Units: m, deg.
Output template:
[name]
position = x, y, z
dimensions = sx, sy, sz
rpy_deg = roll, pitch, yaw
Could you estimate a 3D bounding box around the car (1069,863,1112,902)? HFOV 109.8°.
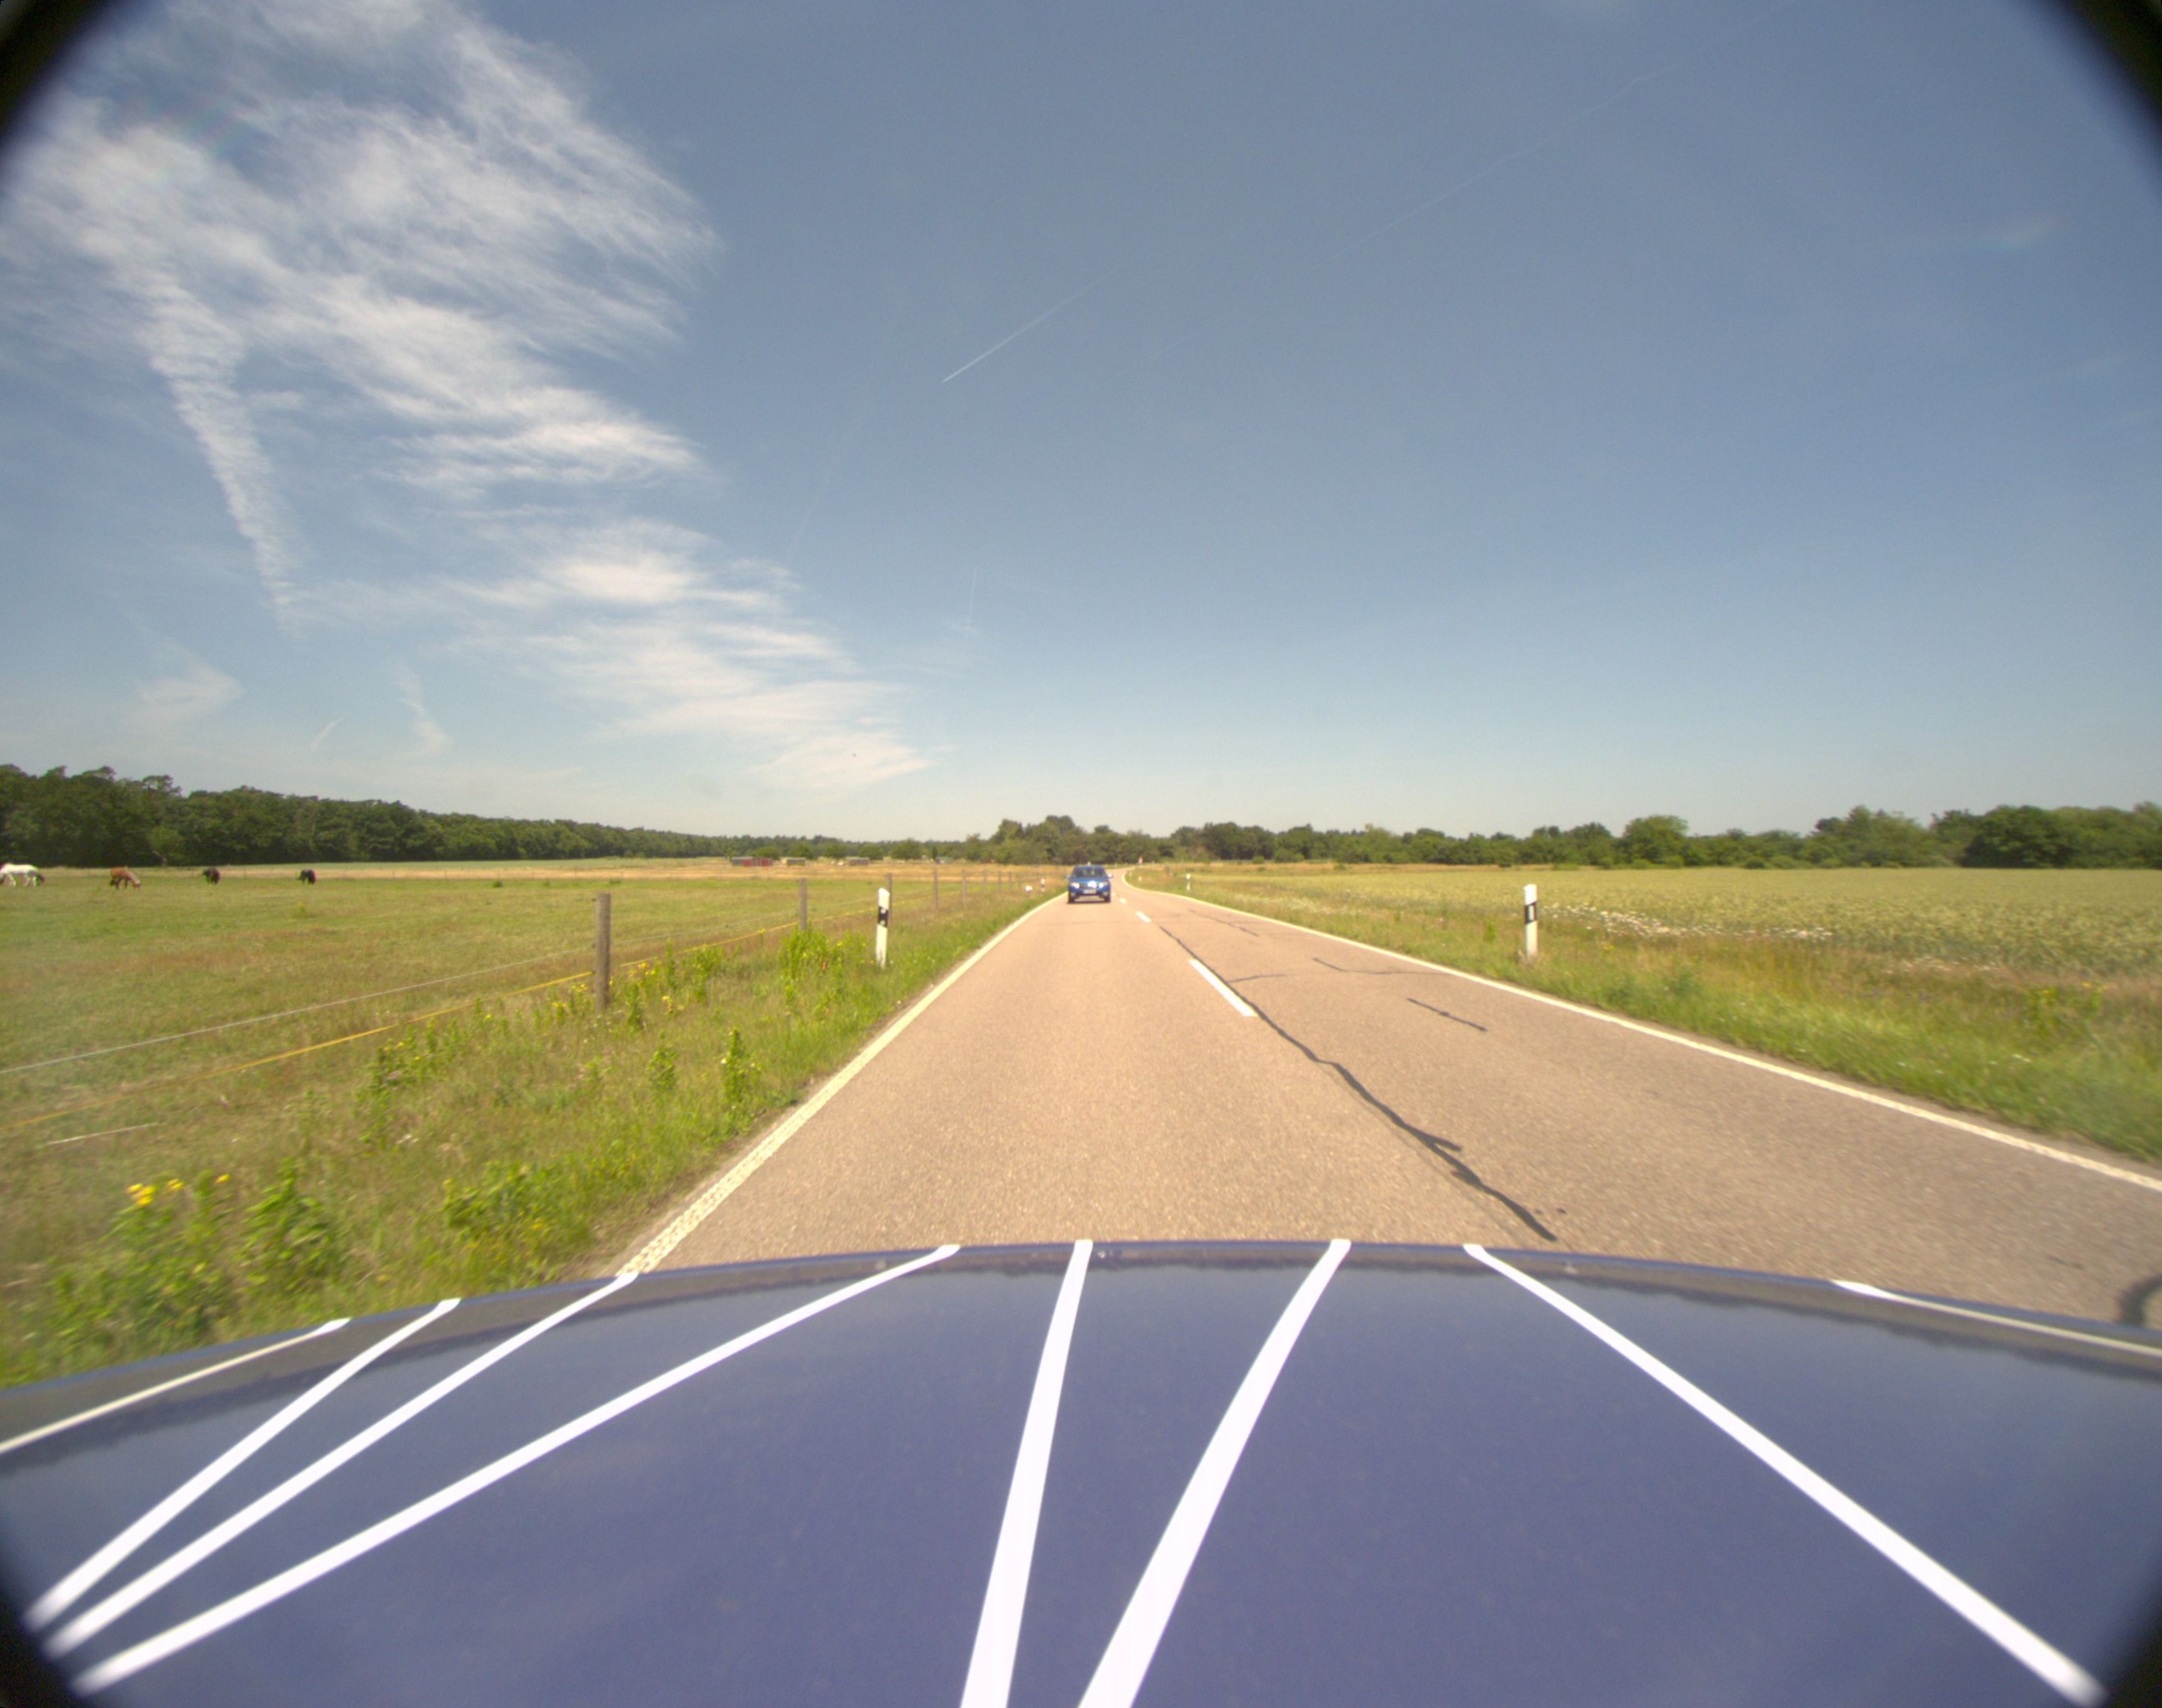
[car]
position = 0.419, 1.241, 33.774
dimensions = 1.734, 1.571, 4.001
rpy_deg = -2, -2, 0
